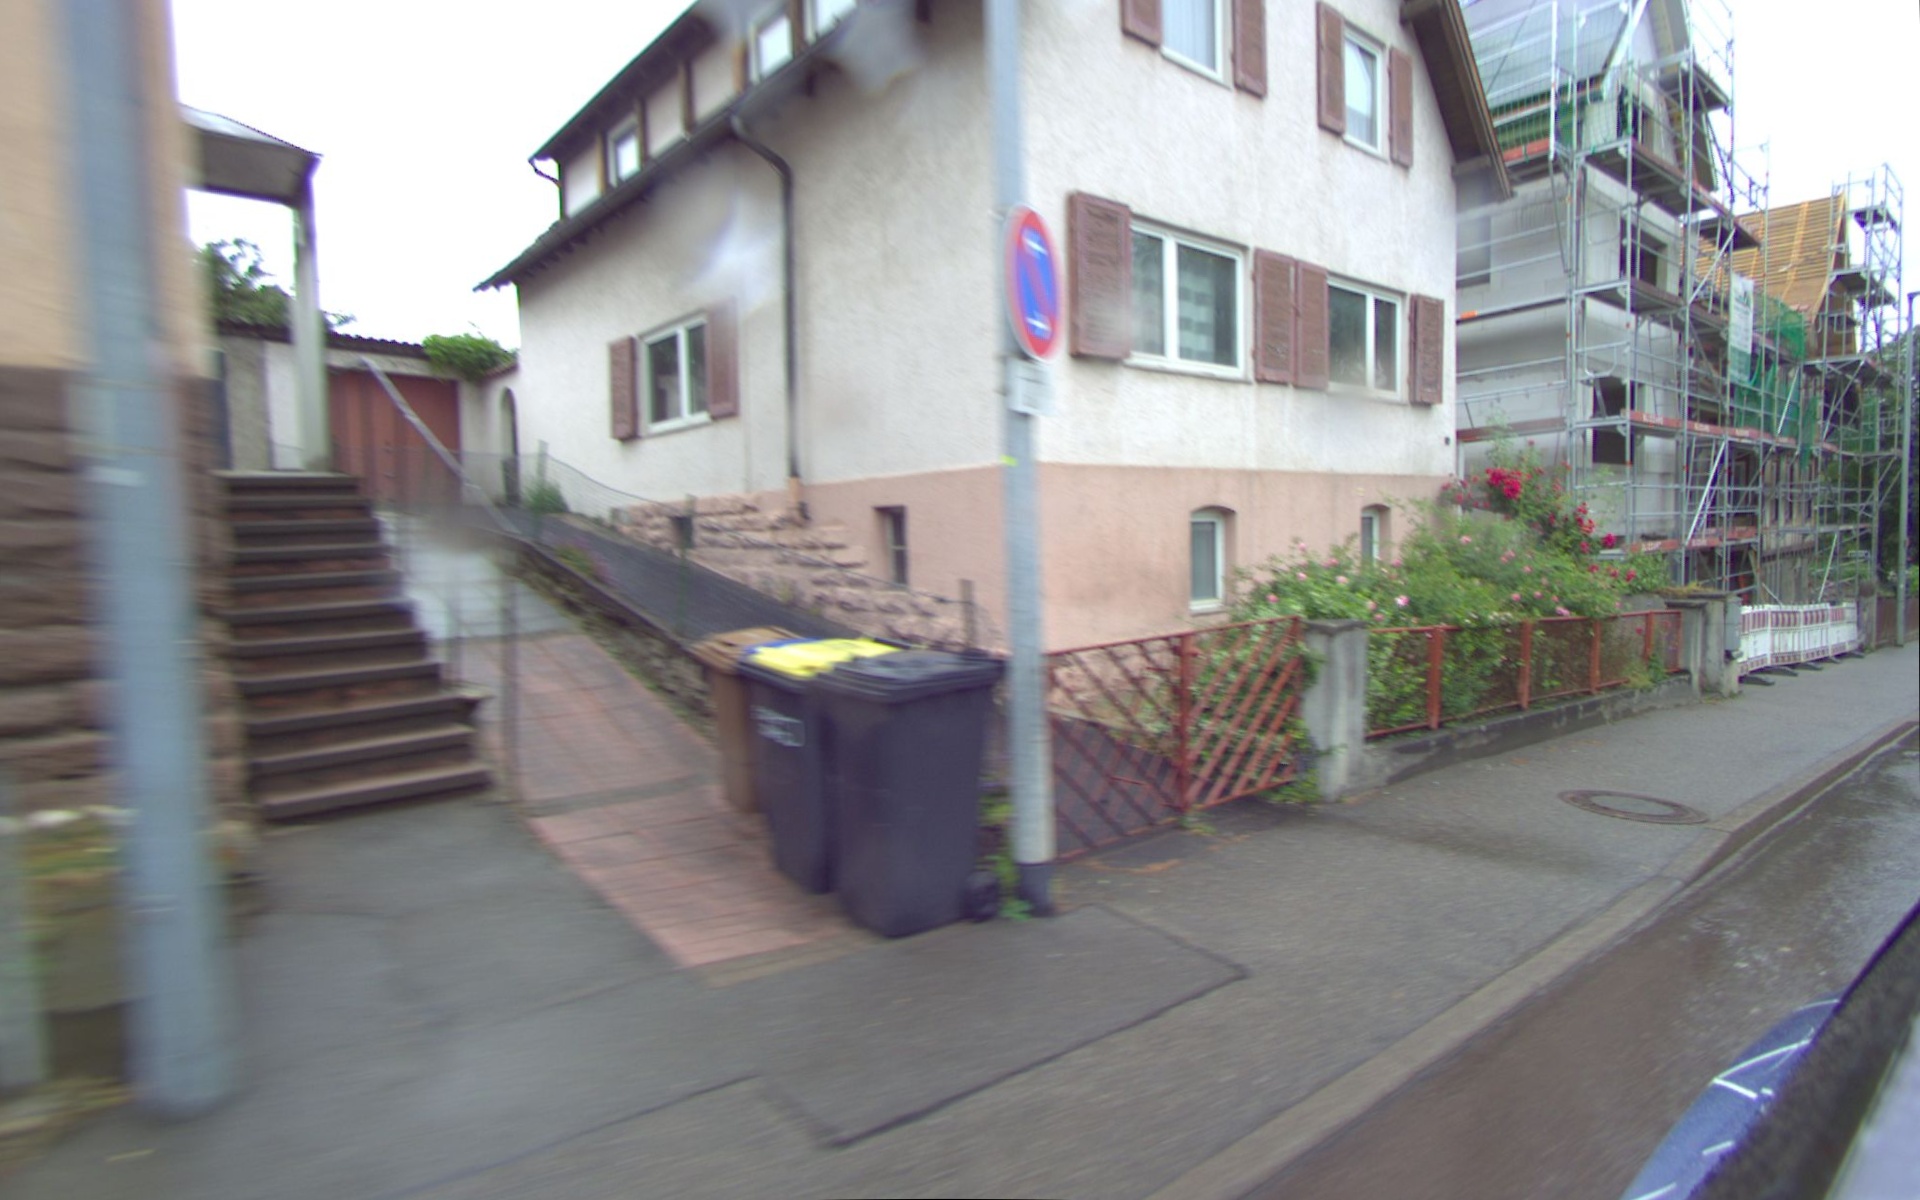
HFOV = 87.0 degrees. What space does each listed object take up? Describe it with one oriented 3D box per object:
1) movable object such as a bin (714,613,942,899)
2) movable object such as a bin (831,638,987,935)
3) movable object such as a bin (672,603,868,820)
[{"bbox_3d":[-0.593,0.637,4.562,0.779,1.089,0.610,-1,5,-43],"label":"movable object such as a bin"},{"bbox_3d":[-0.197,0.682,3.931,0.479,1.031,0.380,0,1,-40],"label":"movable object such as a bin"},{"bbox_3d":[-1.015,0.548,5.409,0.779,0.978,0.611,-1,7,-43],"label":"movable object such as a bin"}]
